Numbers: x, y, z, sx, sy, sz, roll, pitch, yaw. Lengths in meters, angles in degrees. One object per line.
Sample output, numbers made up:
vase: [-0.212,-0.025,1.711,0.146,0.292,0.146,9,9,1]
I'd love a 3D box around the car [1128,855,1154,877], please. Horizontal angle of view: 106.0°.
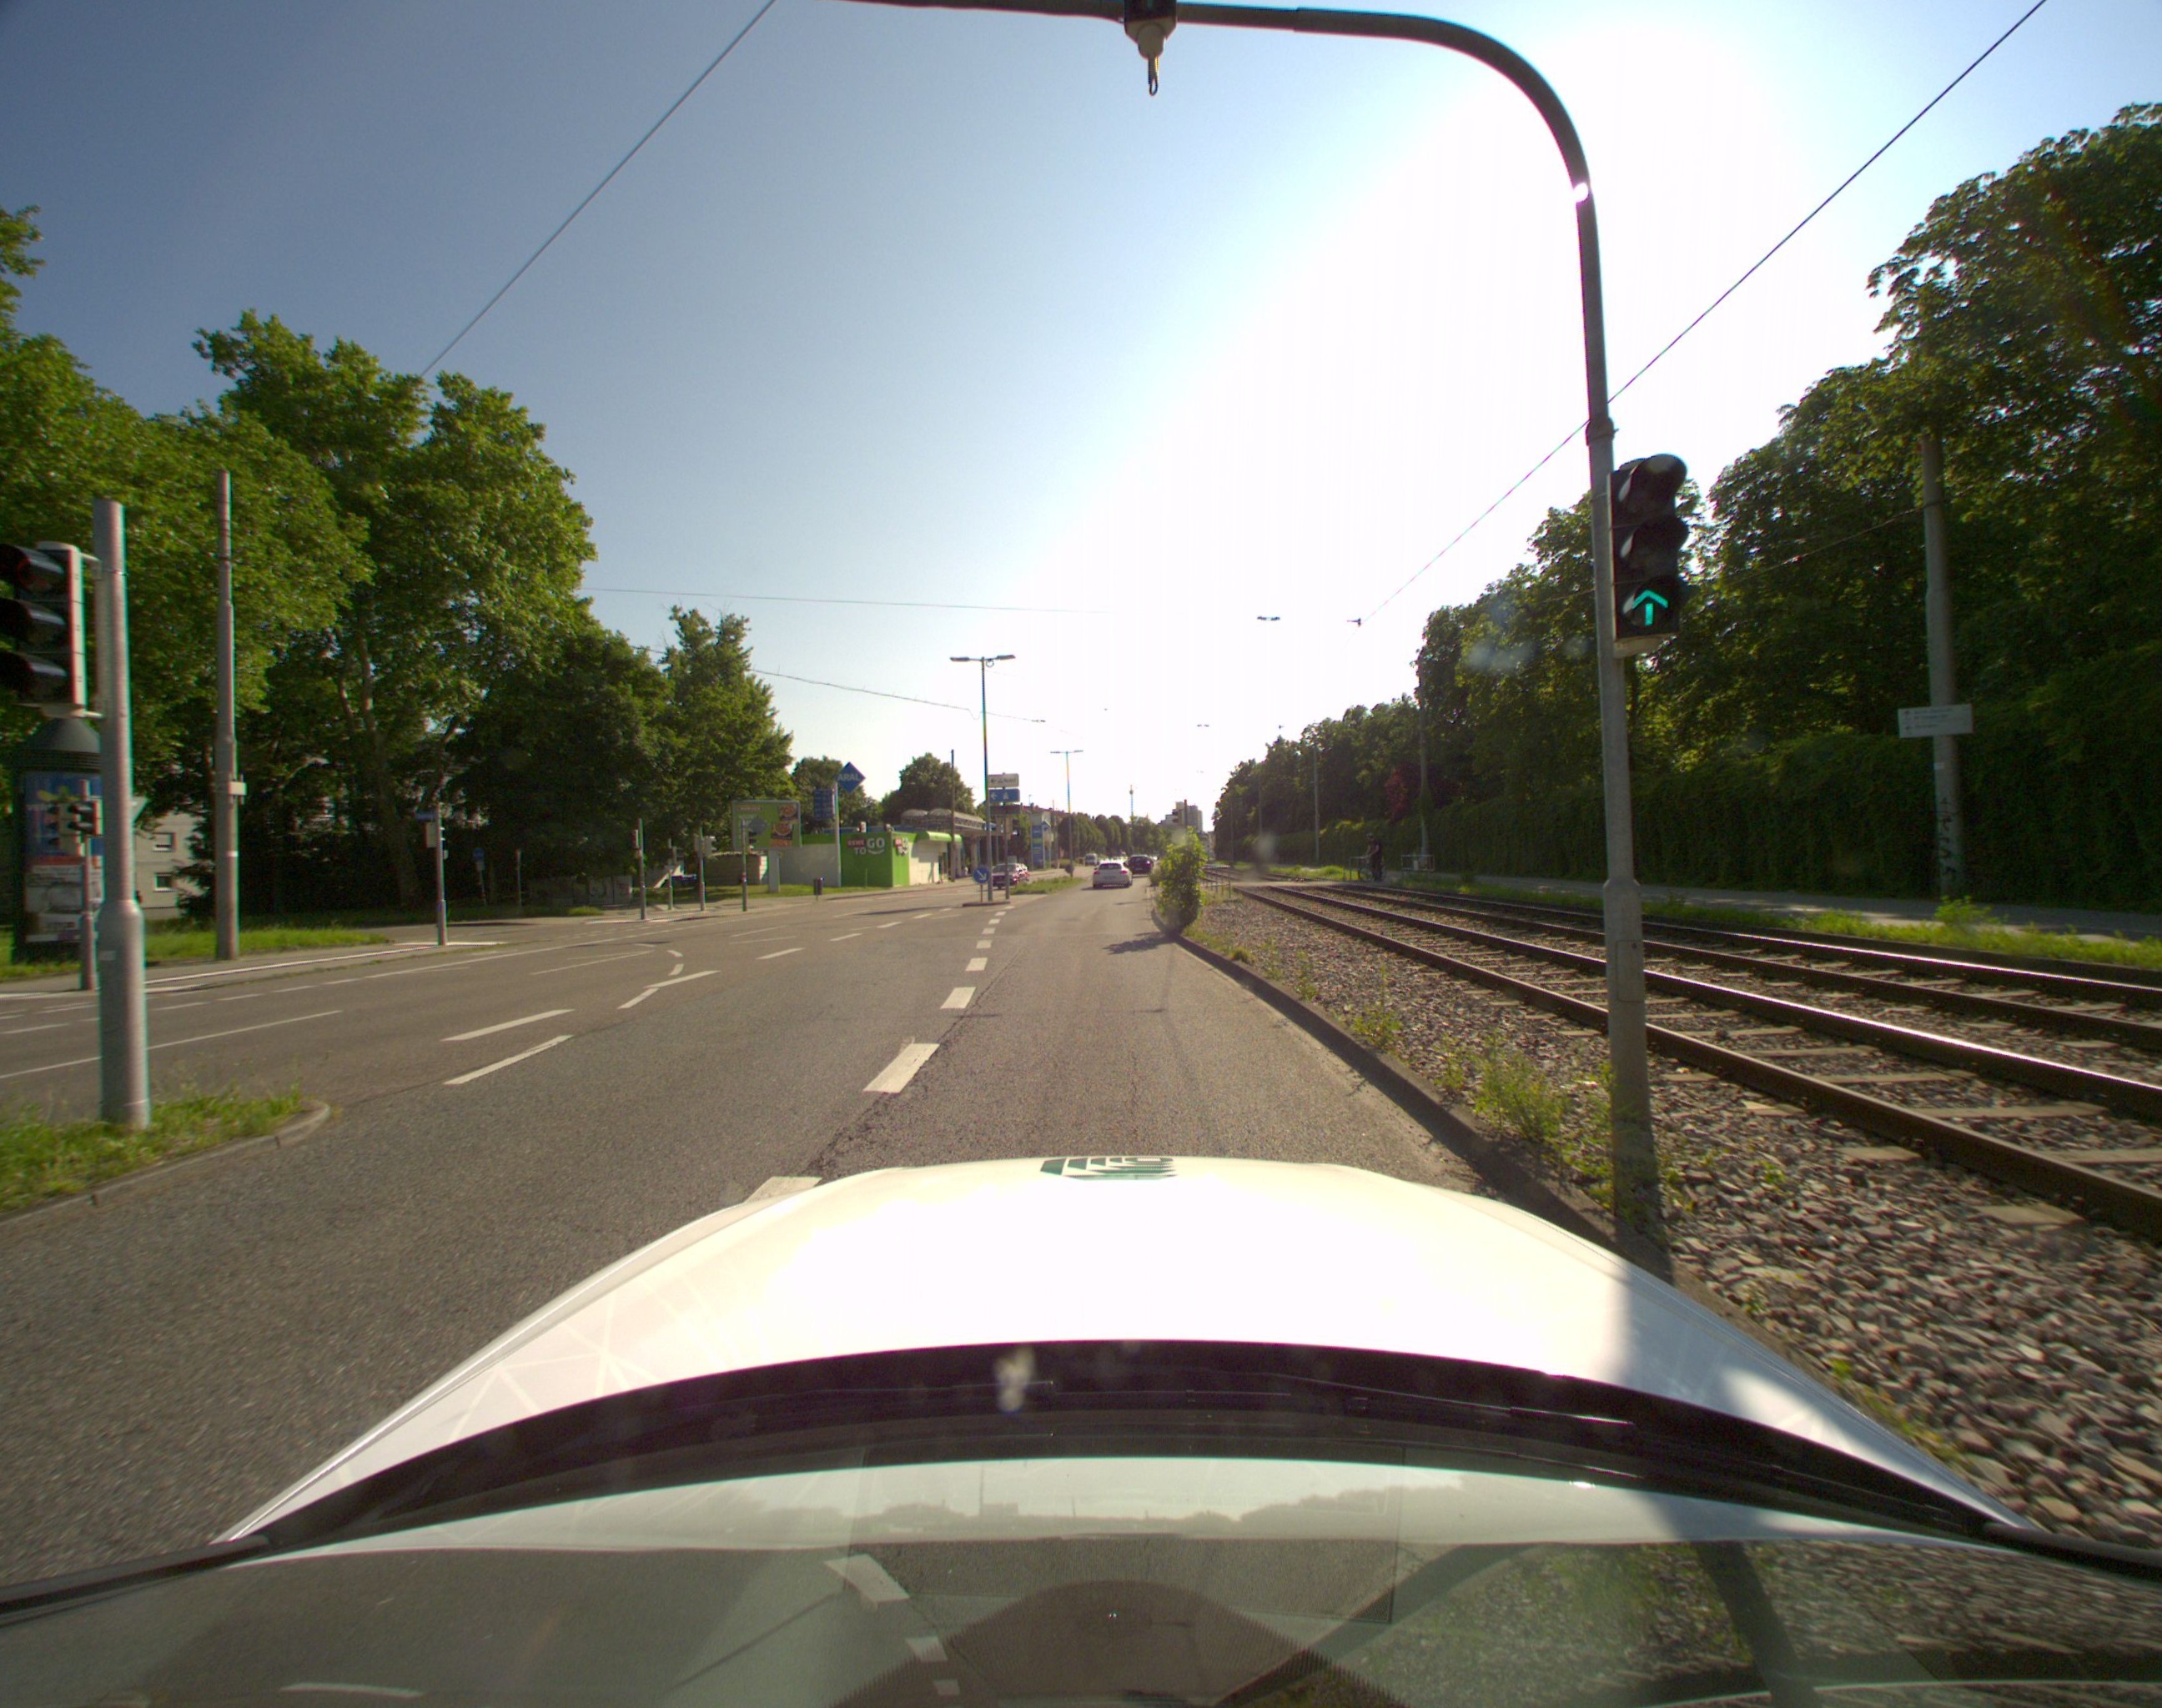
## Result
car: [4.505,0.862,61.508,1.718,1.593,3.601,-1,0,1]

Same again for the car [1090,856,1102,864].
car: [3.271,1.296,175.960,1.983,1.416,3.851,-3,0,7]

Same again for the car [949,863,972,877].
car: [-13.682,1.793,92.488,1.736,1.393,4.125,-3,0,4]

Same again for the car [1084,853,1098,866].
car: [2.013,1.097,160.822,1.982,2.376,4.548,-3,0,8]

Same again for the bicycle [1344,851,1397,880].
bicycle: [12.042,0.486,33.879,1.902,1.115,0.953,-3,0,29]

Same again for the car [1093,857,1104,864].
car: [3.994,1.337,181.817,1.983,1.416,3.851,-3,0,7]

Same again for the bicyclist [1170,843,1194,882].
bicyclist: [3.804,0.314,30.590,0.638,1.416,1.018,-3,-1,21]

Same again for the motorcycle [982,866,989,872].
motorcycle: [-14.803,2.294,126.245,0.668,0.901,1.673,-3,0,5]

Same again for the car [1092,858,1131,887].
car: [1.575,0.914,41.185,1.772,1.356,3.606,-1,0,5]

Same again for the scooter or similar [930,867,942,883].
scooter or similar: [-11.095,1.600,62.381,0.529,1.174,1.313,2,0,8]

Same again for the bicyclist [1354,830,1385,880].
bicyclist: [12.009,0.045,33.889,1.023,1.993,0.953,-3,-1,29]

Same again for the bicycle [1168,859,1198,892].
bicycle: [3.845,0.806,30.635,0.638,1.154,1.947,-3,0,20]

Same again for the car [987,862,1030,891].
car: [-4.023,1.225,45.594,1.645,1.395,4.139,-3,0,4]
